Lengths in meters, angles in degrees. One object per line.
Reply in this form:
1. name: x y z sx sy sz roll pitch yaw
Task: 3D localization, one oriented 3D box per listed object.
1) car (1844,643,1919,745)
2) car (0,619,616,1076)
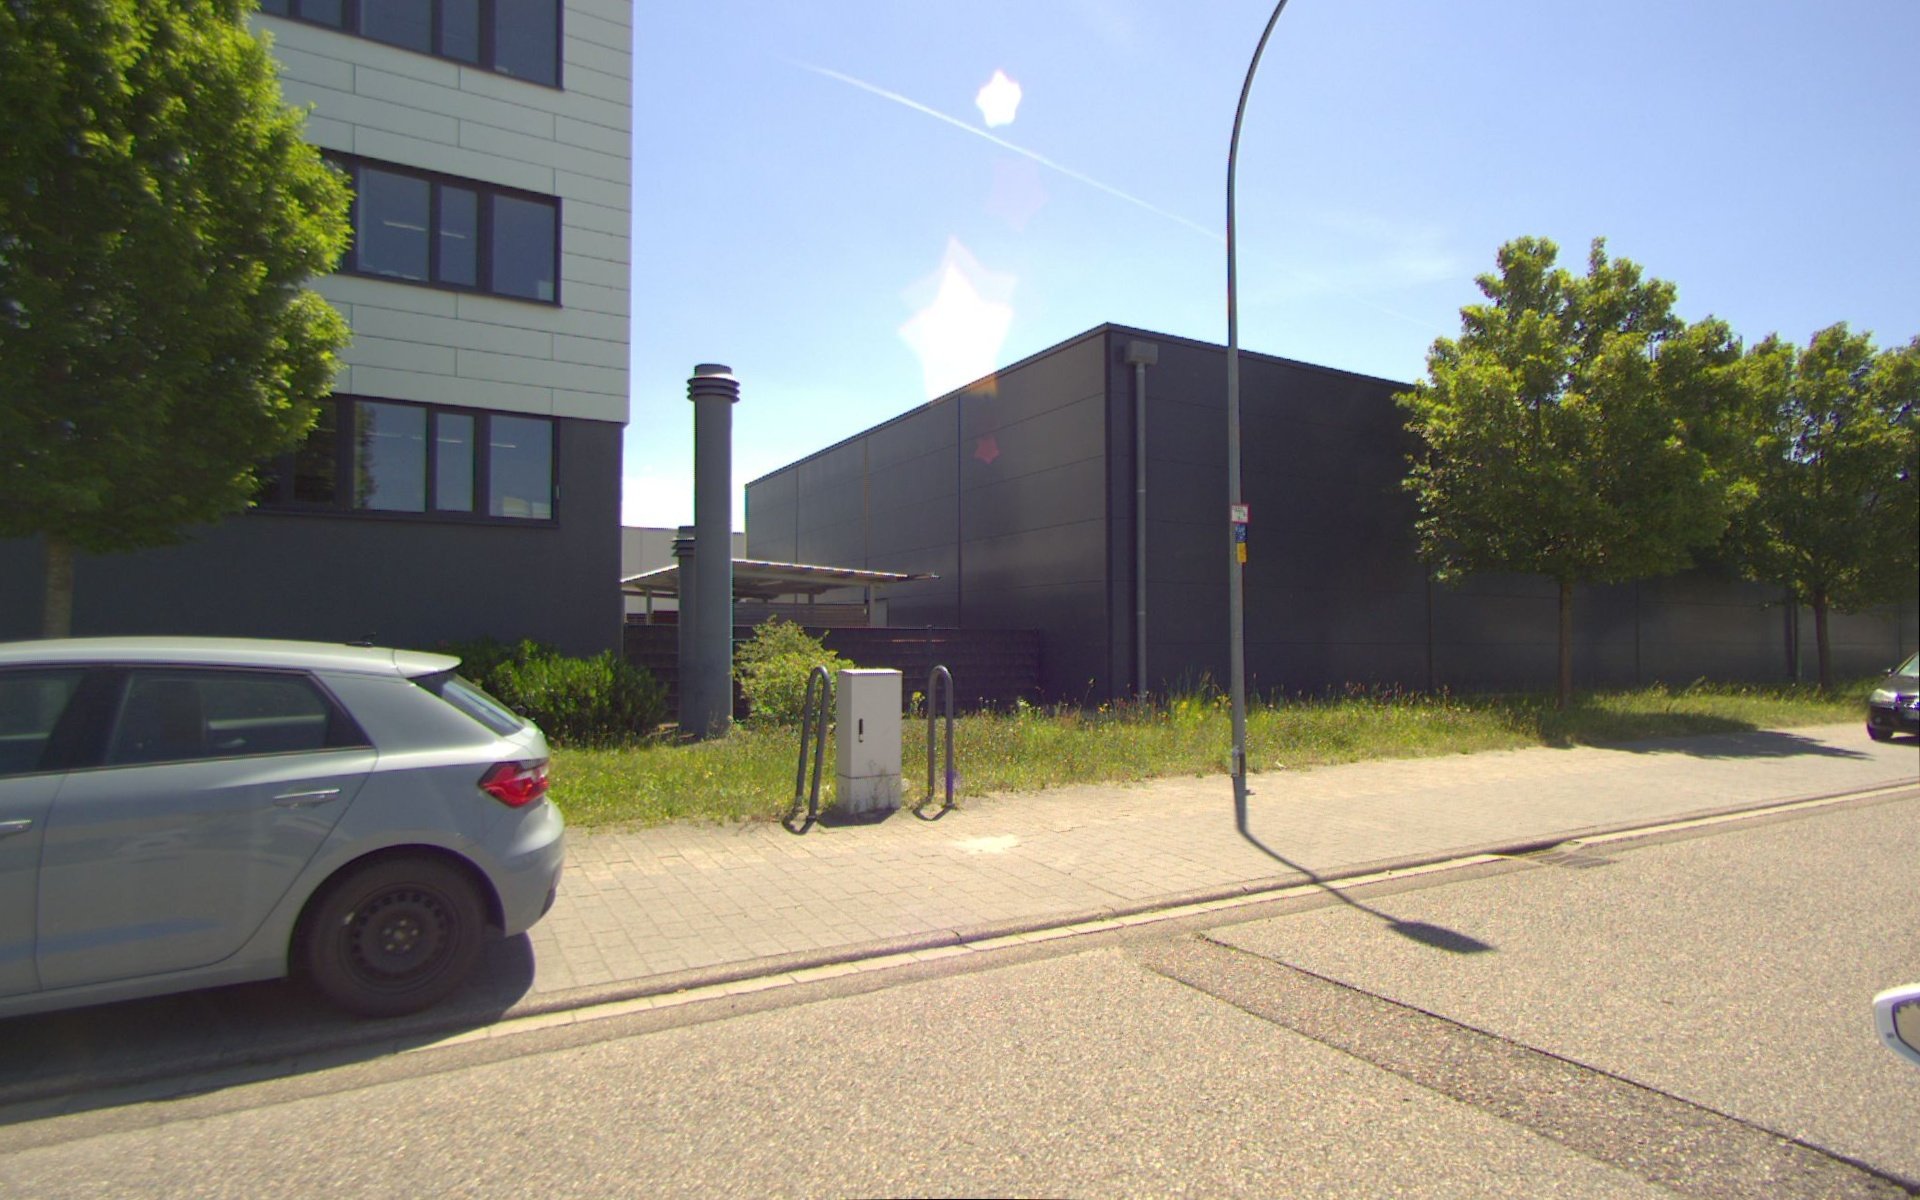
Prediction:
1. car: 15.580 1.409 15.443 4.151 1.450 1.763 2 -2 -30
2. car: -3.550 0.806 3.954 3.893 1.450 1.763 2 -2 -30
